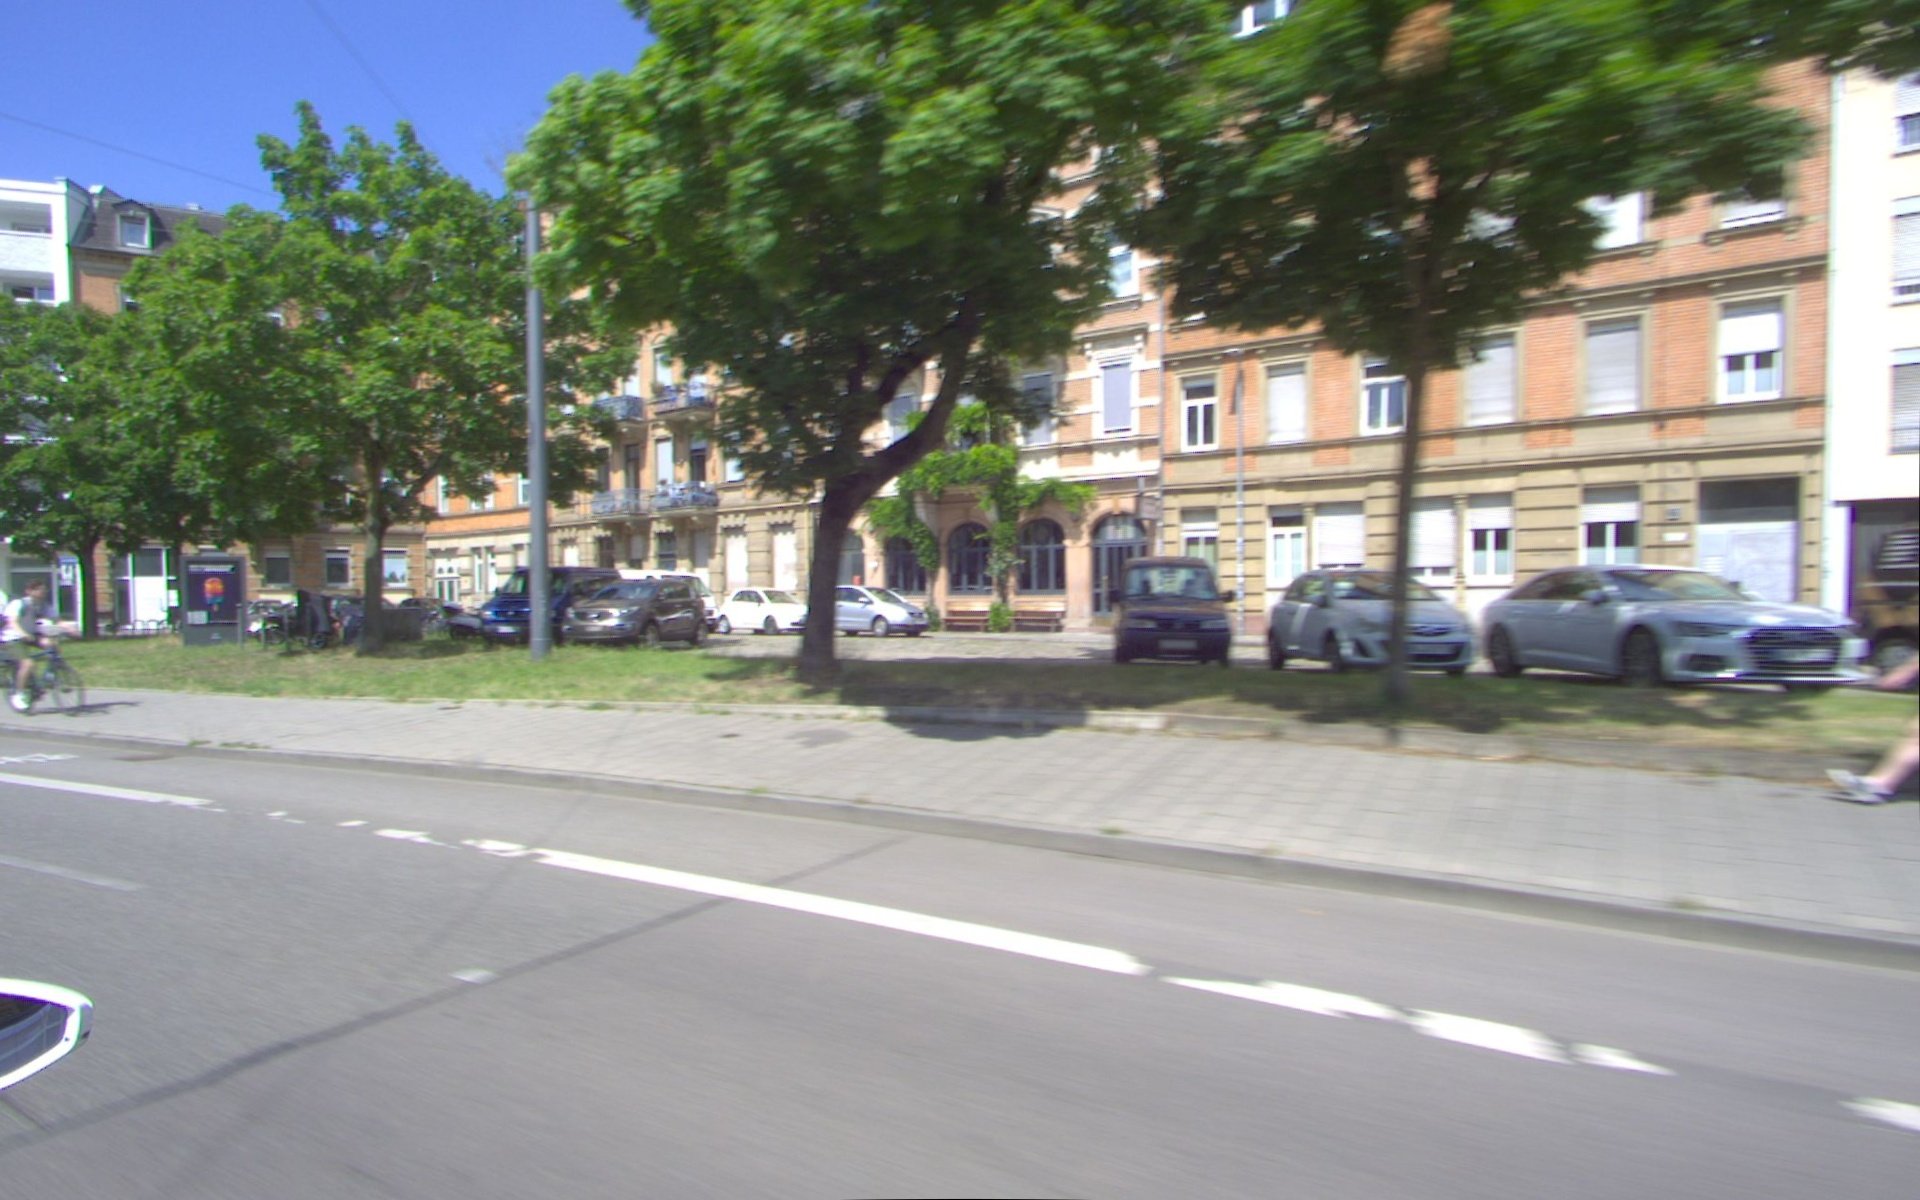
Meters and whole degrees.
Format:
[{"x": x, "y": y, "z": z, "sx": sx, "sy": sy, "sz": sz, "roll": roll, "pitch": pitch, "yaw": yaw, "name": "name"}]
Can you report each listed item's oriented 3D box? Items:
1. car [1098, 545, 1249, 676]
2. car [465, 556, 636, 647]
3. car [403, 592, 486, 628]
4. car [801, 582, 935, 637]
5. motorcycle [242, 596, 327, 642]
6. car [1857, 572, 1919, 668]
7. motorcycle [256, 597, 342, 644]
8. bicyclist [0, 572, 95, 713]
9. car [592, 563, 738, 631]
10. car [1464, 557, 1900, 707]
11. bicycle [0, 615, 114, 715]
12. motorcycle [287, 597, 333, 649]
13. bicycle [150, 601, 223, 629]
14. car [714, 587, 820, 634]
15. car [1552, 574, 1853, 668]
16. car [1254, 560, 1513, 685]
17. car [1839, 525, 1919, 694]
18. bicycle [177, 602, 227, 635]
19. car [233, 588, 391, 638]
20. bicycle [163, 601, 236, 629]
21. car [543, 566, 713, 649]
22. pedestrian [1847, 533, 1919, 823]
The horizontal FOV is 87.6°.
[{"x": 3.169, "y": 0.173, "z": 15.607, "sx": 1.816, "sy": 1.764, "sz": 4.150, "roll": 0, "pitch": -1, "yaw": 5, "name": "car"}, {"x": -9.617, "y": 0.068, "z": 23.979, "sx": 1.879, "sy": 1.952, "sz": 4.630, "roll": 0, "pitch": -1, "yaw": 5, "name": "car"}, {"x": -22.167, "y": 0.434, "z": 43.018, "sx": 3.803, "sy": 1.511, "sz": 1.653, "roll": -1, "pitch": 0, "yaw": 36, "name": "car"}, {"x": -2.731, "y": 0.292, "z": 29.411, "sx": 3.803, "sy": 1.511, "sz": 1.653, "roll": -1, "pitch": 0, "yaw": 36, "name": "car"}, {"x": -18.104, "y": 0.500, "z": 26.879, "sx": 0.631, "sy": 1.182, "sz": 1.778, "roll": 0, "pitch": 1, "yaw": 34, "name": "motorcycle"}, {"x": 16.901, "y": 0.307, "z": 15.604, "sx": 4.172, "sy": 1.511, "sz": 1.826, "roll": -1, "pitch": -1, "yaw": 36, "name": "car"}, {"x": -17.396, "y": 0.529, "z": 26.374, "sx": 0.631, "sy": 1.182, "sz": 1.778, "roll": 0, "pitch": 1, "yaw": 34, "name": "motorcycle"}, {"x": -12.572, "y": 0.557, "z": 13.661, "sx": 0.939, "sy": 1.850, "sz": 0.694, "roll": 0, "pitch": 4, "yaw": 20, "name": "bicyclist"}, {"x": -10.318, "y": -0.061, "z": 34.802, "sx": 5.323, "sy": 2.207, "sz": 2.104, "roll": -1, "pitch": 0, "yaw": 36, "name": "car"}, {"x": 7.937, "y": 0.328, "z": 11.721, "sx": 1.816, "sy": 1.398, "sz": 4.694, "roll": 0, "pitch": -1, "yaw": 2, "name": "car"}, {"x": -12.594, "y": 0.861, "z": 13.685, "sx": 1.807, "sy": 1.260, "sz": 0.694, "roll": 0, "pitch": 4, "yaw": 20, "name": "bicycle"}, {"x": -15.703, "y": 0.535, "z": 24.174, "sx": 0.633, "sy": 1.182, "sz": 1.889, "roll": -1, "pitch": 1, "yaw": -42, "name": "motorcycle"}, {"x": -28.657, "y": 0.551, "z": 37.149, "sx": 0.533, "sy": 0.982, "sz": 2.390, "roll": 0, "pitch": -1, "yaw": 12, "name": "bicycle"}, {"x": -6.167, "y": 0.301, "z": 31.860, "sx": 3.309, "sy": 1.422, "sz": 1.557, "roll": 0, "pitch": 1, "yaw": 39, "name": "car"}, {"x": 13.154, "y": 0.364, "z": 18.016, "sx": 4.172, "sy": 1.511, "sz": 1.826, "roll": -1, "pitch": -1, "yaw": 36, "name": "car"}, {"x": 5.443, "y": 0.287, "z": 13.498, "sx": 1.816, "sy": 1.424, "sz": 4.085, "roll": 0, "pitch": -1, "yaw": 1, "name": "car"}, {"x": 10.952, "y": 0.081, "z": 9.255, "sx": 1.816, "sy": 1.764, "sz": 4.366, "roll": 0, "pitch": -1, "yaw": 0, "name": "car"}, {"x": -21.612, "y": 0.513, "z": 28.541, "sx": 1.795, "sy": 0.913, "sz": 0.541, "roll": 0, "pitch": 0, "yaw": 32, "name": "bicycle"}, {"x": -19.776, "y": 0.359, "z": 30.815, "sx": 1.770, "sy": 1.446, "sz": 4.257, "roll": 0, "pitch": 1, "yaw": 6, "name": "car"}, {"x": -28.090, "y": 0.549, "z": 37.033, "sx": 0.533, "sy": 0.982, "sz": 2.390, "roll": 0, "pitch": -1, "yaw": 12, "name": "bicycle"}, {"x": -7.248, "y": 0.181, "z": 22.353, "sx": 1.880, "sy": 1.678, "sz": 4.173, "roll": 0, "pitch": -1, "yaw": 9, "name": "car"}, {"x": 5.715, "y": 0.420, "z": 5.701, "sx": 0.893, "sy": 1.614, "sz": 0.697, "roll": 0, "pitch": 4, "yaw": 35, "name": "pedestrian"}]
